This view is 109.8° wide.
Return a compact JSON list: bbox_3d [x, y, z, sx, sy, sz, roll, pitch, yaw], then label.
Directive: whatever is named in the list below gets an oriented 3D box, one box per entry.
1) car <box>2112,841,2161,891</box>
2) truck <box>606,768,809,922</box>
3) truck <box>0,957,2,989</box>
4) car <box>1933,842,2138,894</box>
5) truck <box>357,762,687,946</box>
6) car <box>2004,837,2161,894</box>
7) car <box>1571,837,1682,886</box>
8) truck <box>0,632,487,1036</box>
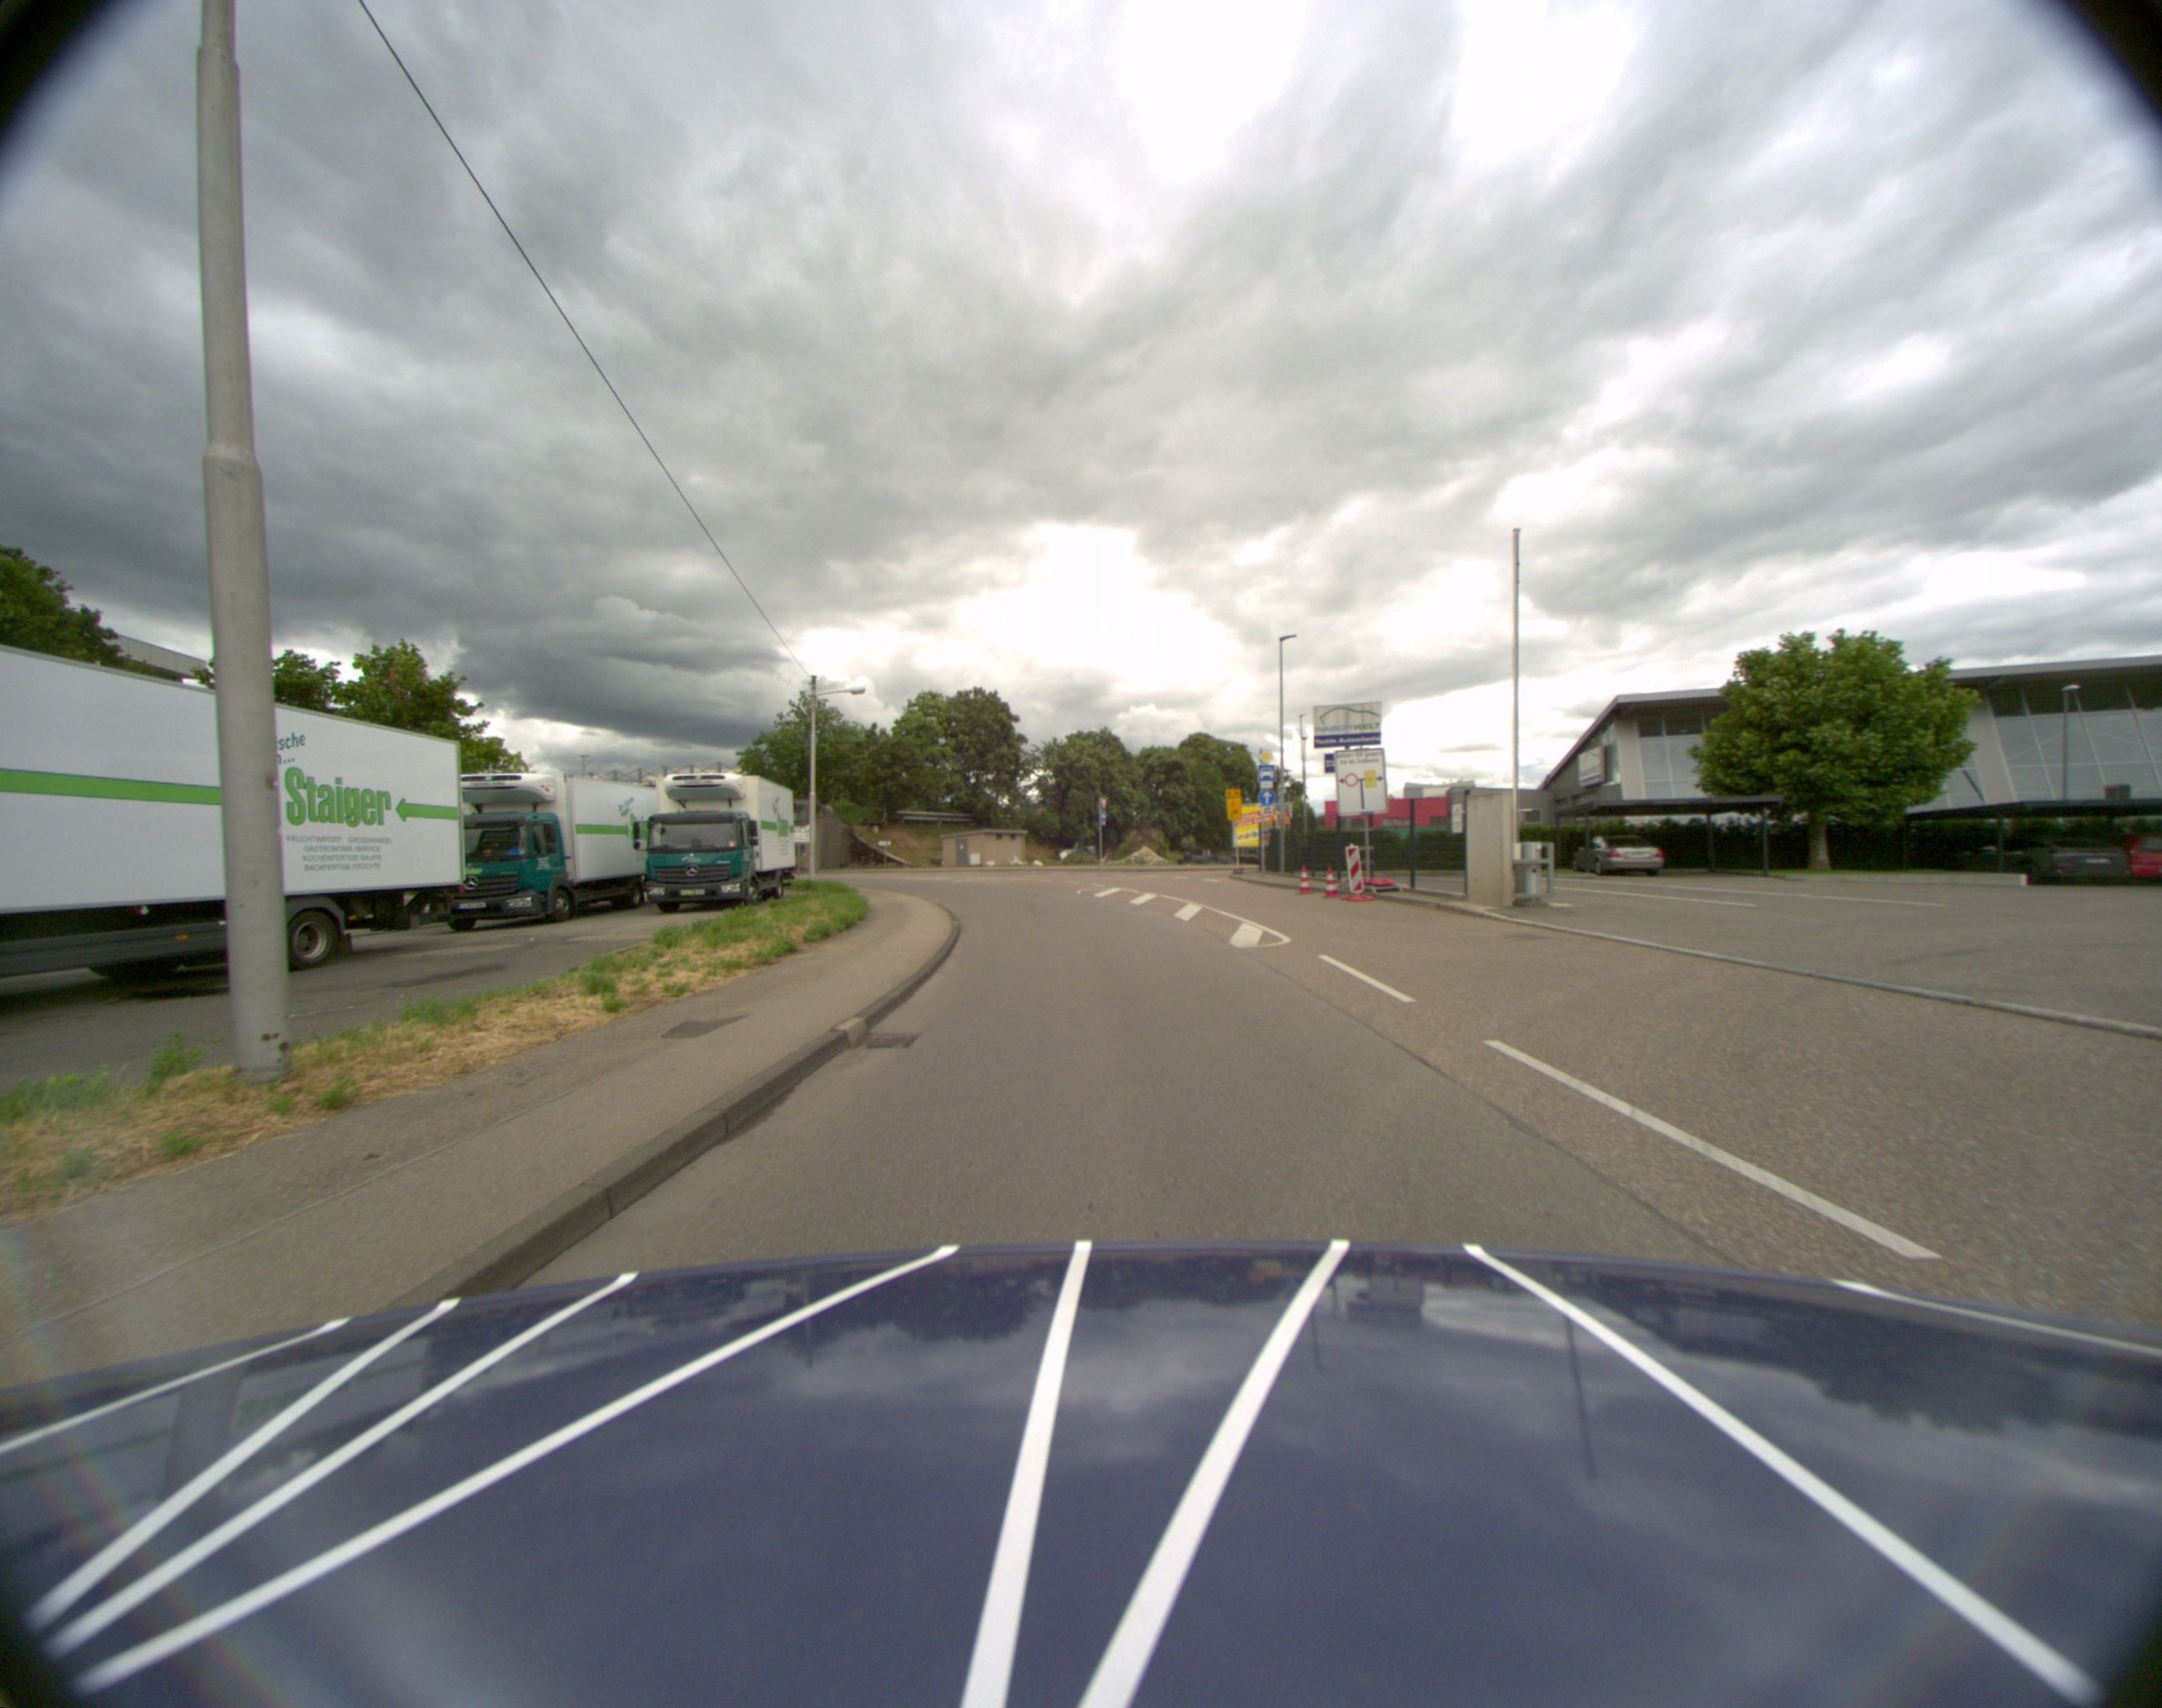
[{"bbox_3d":[34.659,0.375,22.995,1.963,1.550,4.253,-1,0,17],"label":"car"},{"bbox_3d":[-10.454,-0.268,22.499,3.073,3.610,8.596,-2,1,-11],"label":"truck"},{"bbox_3d":[-15.026,-0.293,4.681,2.989,4.408,10.547,-3,1,-11],"label":"truck"},{"bbox_3d":[29.845,0.399,24.008,1.963,1.483,4.253,-1,0,17],"label":"car"},{"bbox_3d":[-13.736,-0.058,20.009,3.072,3.610,8.597,-4,1,-8],"label":"truck"},{"bbox_3d":[32.386,0.310,24.079,1.963,1.638,4.253,-1,0,17],"label":"car"},{"bbox_3d":[19.864,0.235,27.925,2.070,1.660,4.253,-1,0,17],"label":"car"},{"bbox_3d":[-11.903,-0.127,8.751,2.988,3.808,10.427,-2,0,-8],"label":"truck"}]
